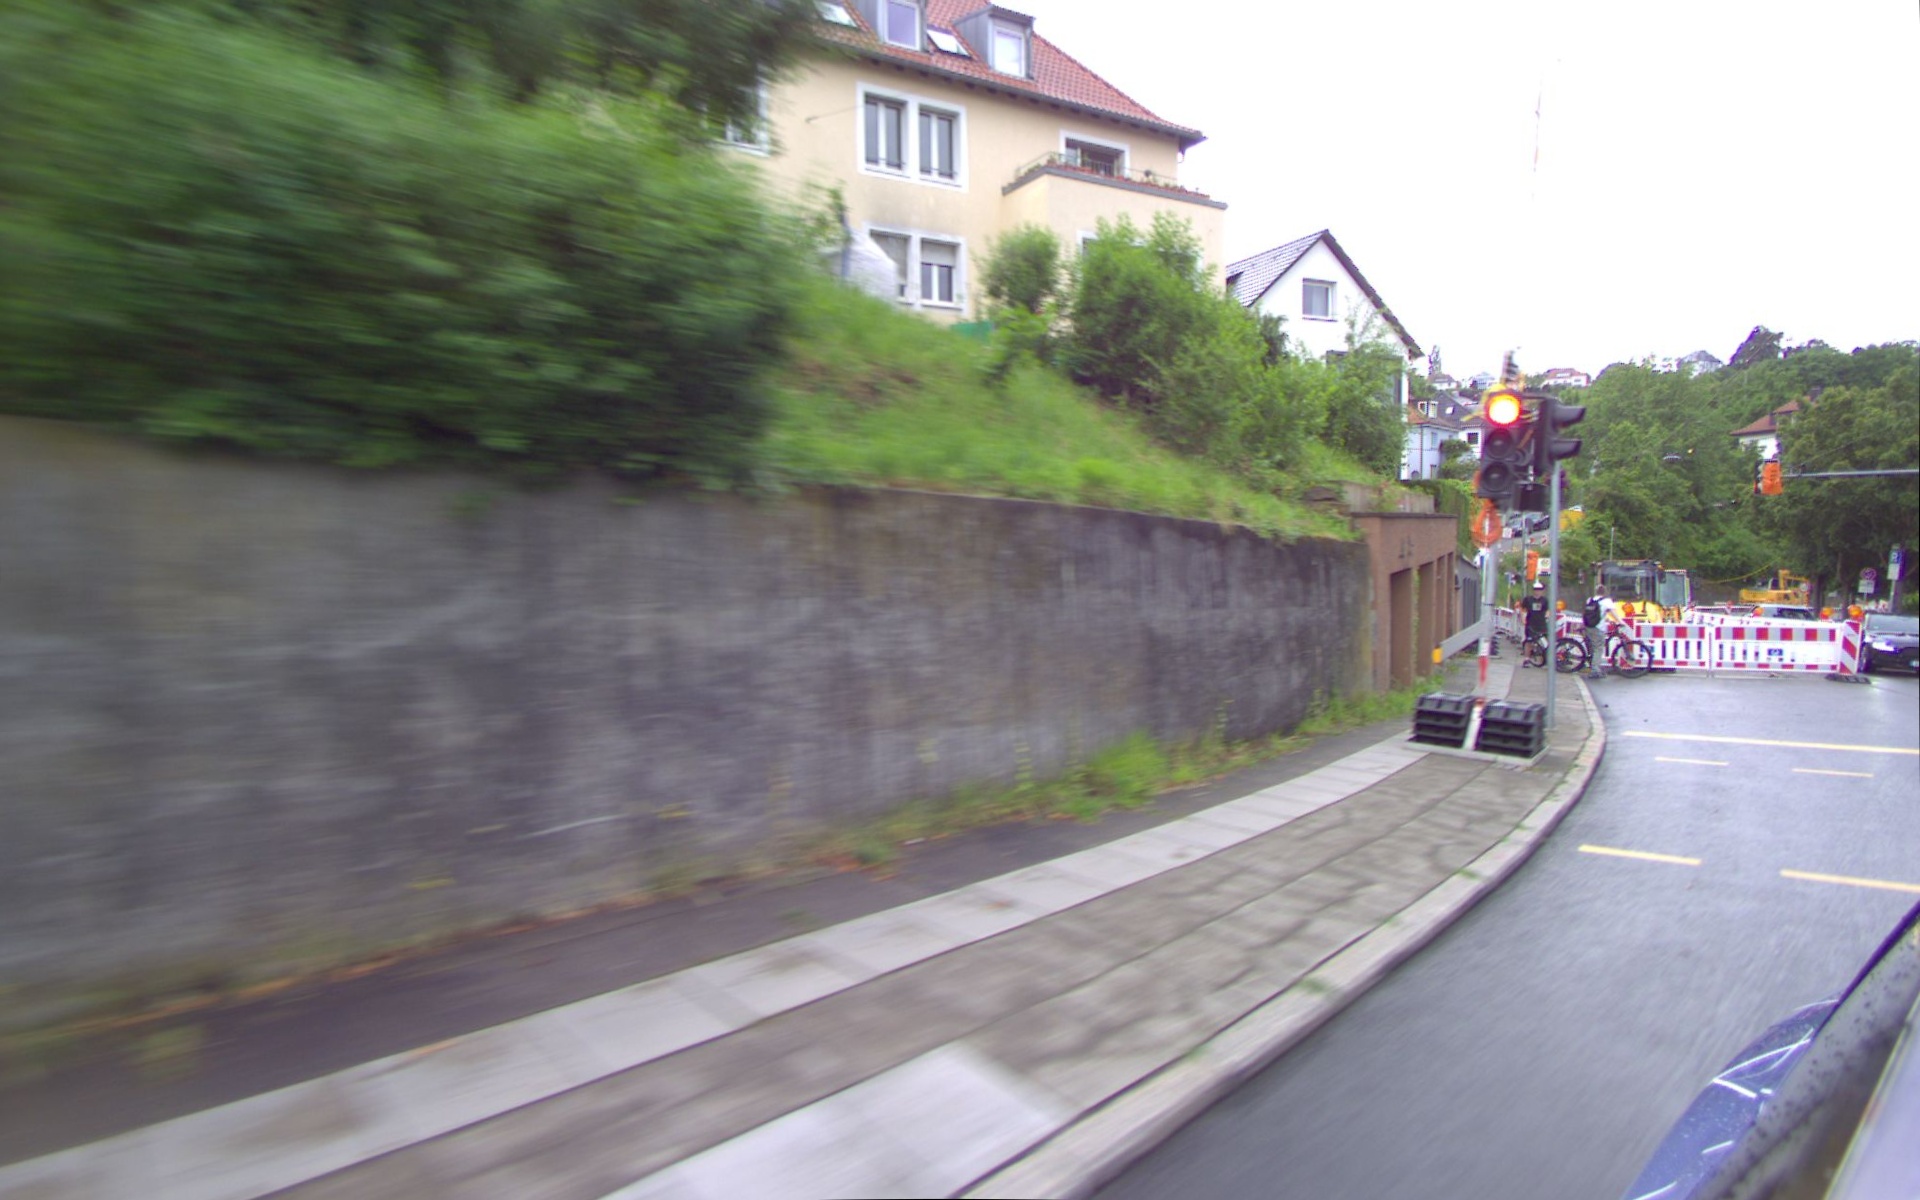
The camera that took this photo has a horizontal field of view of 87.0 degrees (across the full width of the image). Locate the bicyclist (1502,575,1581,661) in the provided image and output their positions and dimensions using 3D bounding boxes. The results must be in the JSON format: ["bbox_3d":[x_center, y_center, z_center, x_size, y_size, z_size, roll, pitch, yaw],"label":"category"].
[{"bbox_3d":[12.330,0.367,21.486,0.914,1.750,1.079,1,1,-25],"label":"bicyclist"}]

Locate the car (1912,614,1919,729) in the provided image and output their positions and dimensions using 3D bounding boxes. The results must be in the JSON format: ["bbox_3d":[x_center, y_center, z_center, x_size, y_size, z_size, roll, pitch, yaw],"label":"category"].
[{"bbox_3d":[10.132,0.757,9.117,1.666,1.484,4.653,4,4,37],"label":"car"}]

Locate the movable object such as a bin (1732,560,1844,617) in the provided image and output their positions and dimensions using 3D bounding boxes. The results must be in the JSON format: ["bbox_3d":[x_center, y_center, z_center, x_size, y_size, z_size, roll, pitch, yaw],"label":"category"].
[{"bbox_3d":[60.227,-0.832,73.595,7.054,3.886,3.340,1,3,-24],"label":"movable object such as a bin"}]

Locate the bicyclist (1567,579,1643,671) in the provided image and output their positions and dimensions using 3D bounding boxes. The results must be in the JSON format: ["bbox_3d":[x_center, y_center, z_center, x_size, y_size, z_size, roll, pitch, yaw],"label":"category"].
[{"bbox_3d":[12.699,0.466,19.964,1.064,1.750,0.926,2,1,22],"label":"bicyclist"}]

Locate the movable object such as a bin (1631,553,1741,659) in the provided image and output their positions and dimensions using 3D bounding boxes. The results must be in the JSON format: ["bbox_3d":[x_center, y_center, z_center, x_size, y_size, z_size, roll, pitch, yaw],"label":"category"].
[{"bbox_3d":[22.096,0.035,31.045,2.076,2.872,5.619,2,4,30],"label":"movable object such as a bin"}]

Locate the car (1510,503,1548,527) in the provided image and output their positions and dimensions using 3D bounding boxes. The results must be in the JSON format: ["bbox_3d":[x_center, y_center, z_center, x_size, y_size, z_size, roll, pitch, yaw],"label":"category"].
[{"bbox_3d":[48.695,-7.289,86.571,1.856,1.652,3.909,5,13,44],"label":"car"}]

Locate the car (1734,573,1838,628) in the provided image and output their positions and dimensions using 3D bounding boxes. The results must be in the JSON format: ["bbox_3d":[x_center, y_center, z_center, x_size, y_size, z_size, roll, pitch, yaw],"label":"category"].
[{"bbox_3d":[29.492,-0.038,36.297,1.984,1.729,4.529,3,3,28],"label":"car"}]

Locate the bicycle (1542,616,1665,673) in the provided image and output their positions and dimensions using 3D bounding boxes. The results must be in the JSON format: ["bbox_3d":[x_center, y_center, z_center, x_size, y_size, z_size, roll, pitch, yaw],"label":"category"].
[{"bbox_3d":[12.657,0.855,19.985,1.862,0.993,0.926,2,1,22],"label":"bicycle"}]

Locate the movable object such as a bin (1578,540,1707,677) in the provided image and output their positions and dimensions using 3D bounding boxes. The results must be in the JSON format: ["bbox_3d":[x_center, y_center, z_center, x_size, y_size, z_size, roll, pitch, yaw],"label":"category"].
[{"bbox_3d":[16.269,0.160,24.403,2.076,2.873,5.616,2,1,30],"label":"movable object such as a bin"}]

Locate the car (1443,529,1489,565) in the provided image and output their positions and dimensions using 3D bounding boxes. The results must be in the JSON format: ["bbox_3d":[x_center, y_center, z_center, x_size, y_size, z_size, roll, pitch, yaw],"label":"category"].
[{"bbox_3d":[38.170,-4.020,76.300,1.897,2.099,4.366,5,12,44],"label":"car"}]

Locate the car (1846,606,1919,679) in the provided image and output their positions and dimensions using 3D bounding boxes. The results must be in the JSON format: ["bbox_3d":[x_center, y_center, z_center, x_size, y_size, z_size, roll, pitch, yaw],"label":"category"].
[{"bbox_3d":[22.203,0.976,23.430,1.831,1.420,4.025,4,3,32],"label":"car"}]

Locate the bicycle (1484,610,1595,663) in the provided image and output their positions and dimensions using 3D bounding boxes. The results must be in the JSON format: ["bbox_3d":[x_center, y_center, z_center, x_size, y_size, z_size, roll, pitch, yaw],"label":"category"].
[{"bbox_3d":[12.305,0.756,21.543,0.913,0.993,1.833,0,2,-25],"label":"bicycle"}]

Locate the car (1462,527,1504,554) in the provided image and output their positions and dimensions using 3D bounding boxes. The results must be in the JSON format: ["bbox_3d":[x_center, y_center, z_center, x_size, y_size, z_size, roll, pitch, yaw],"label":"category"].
[{"bbox_3d":[41.035,-4.716,79.371,1.856,1.652,3.907,5,12,44],"label":"car"}]
